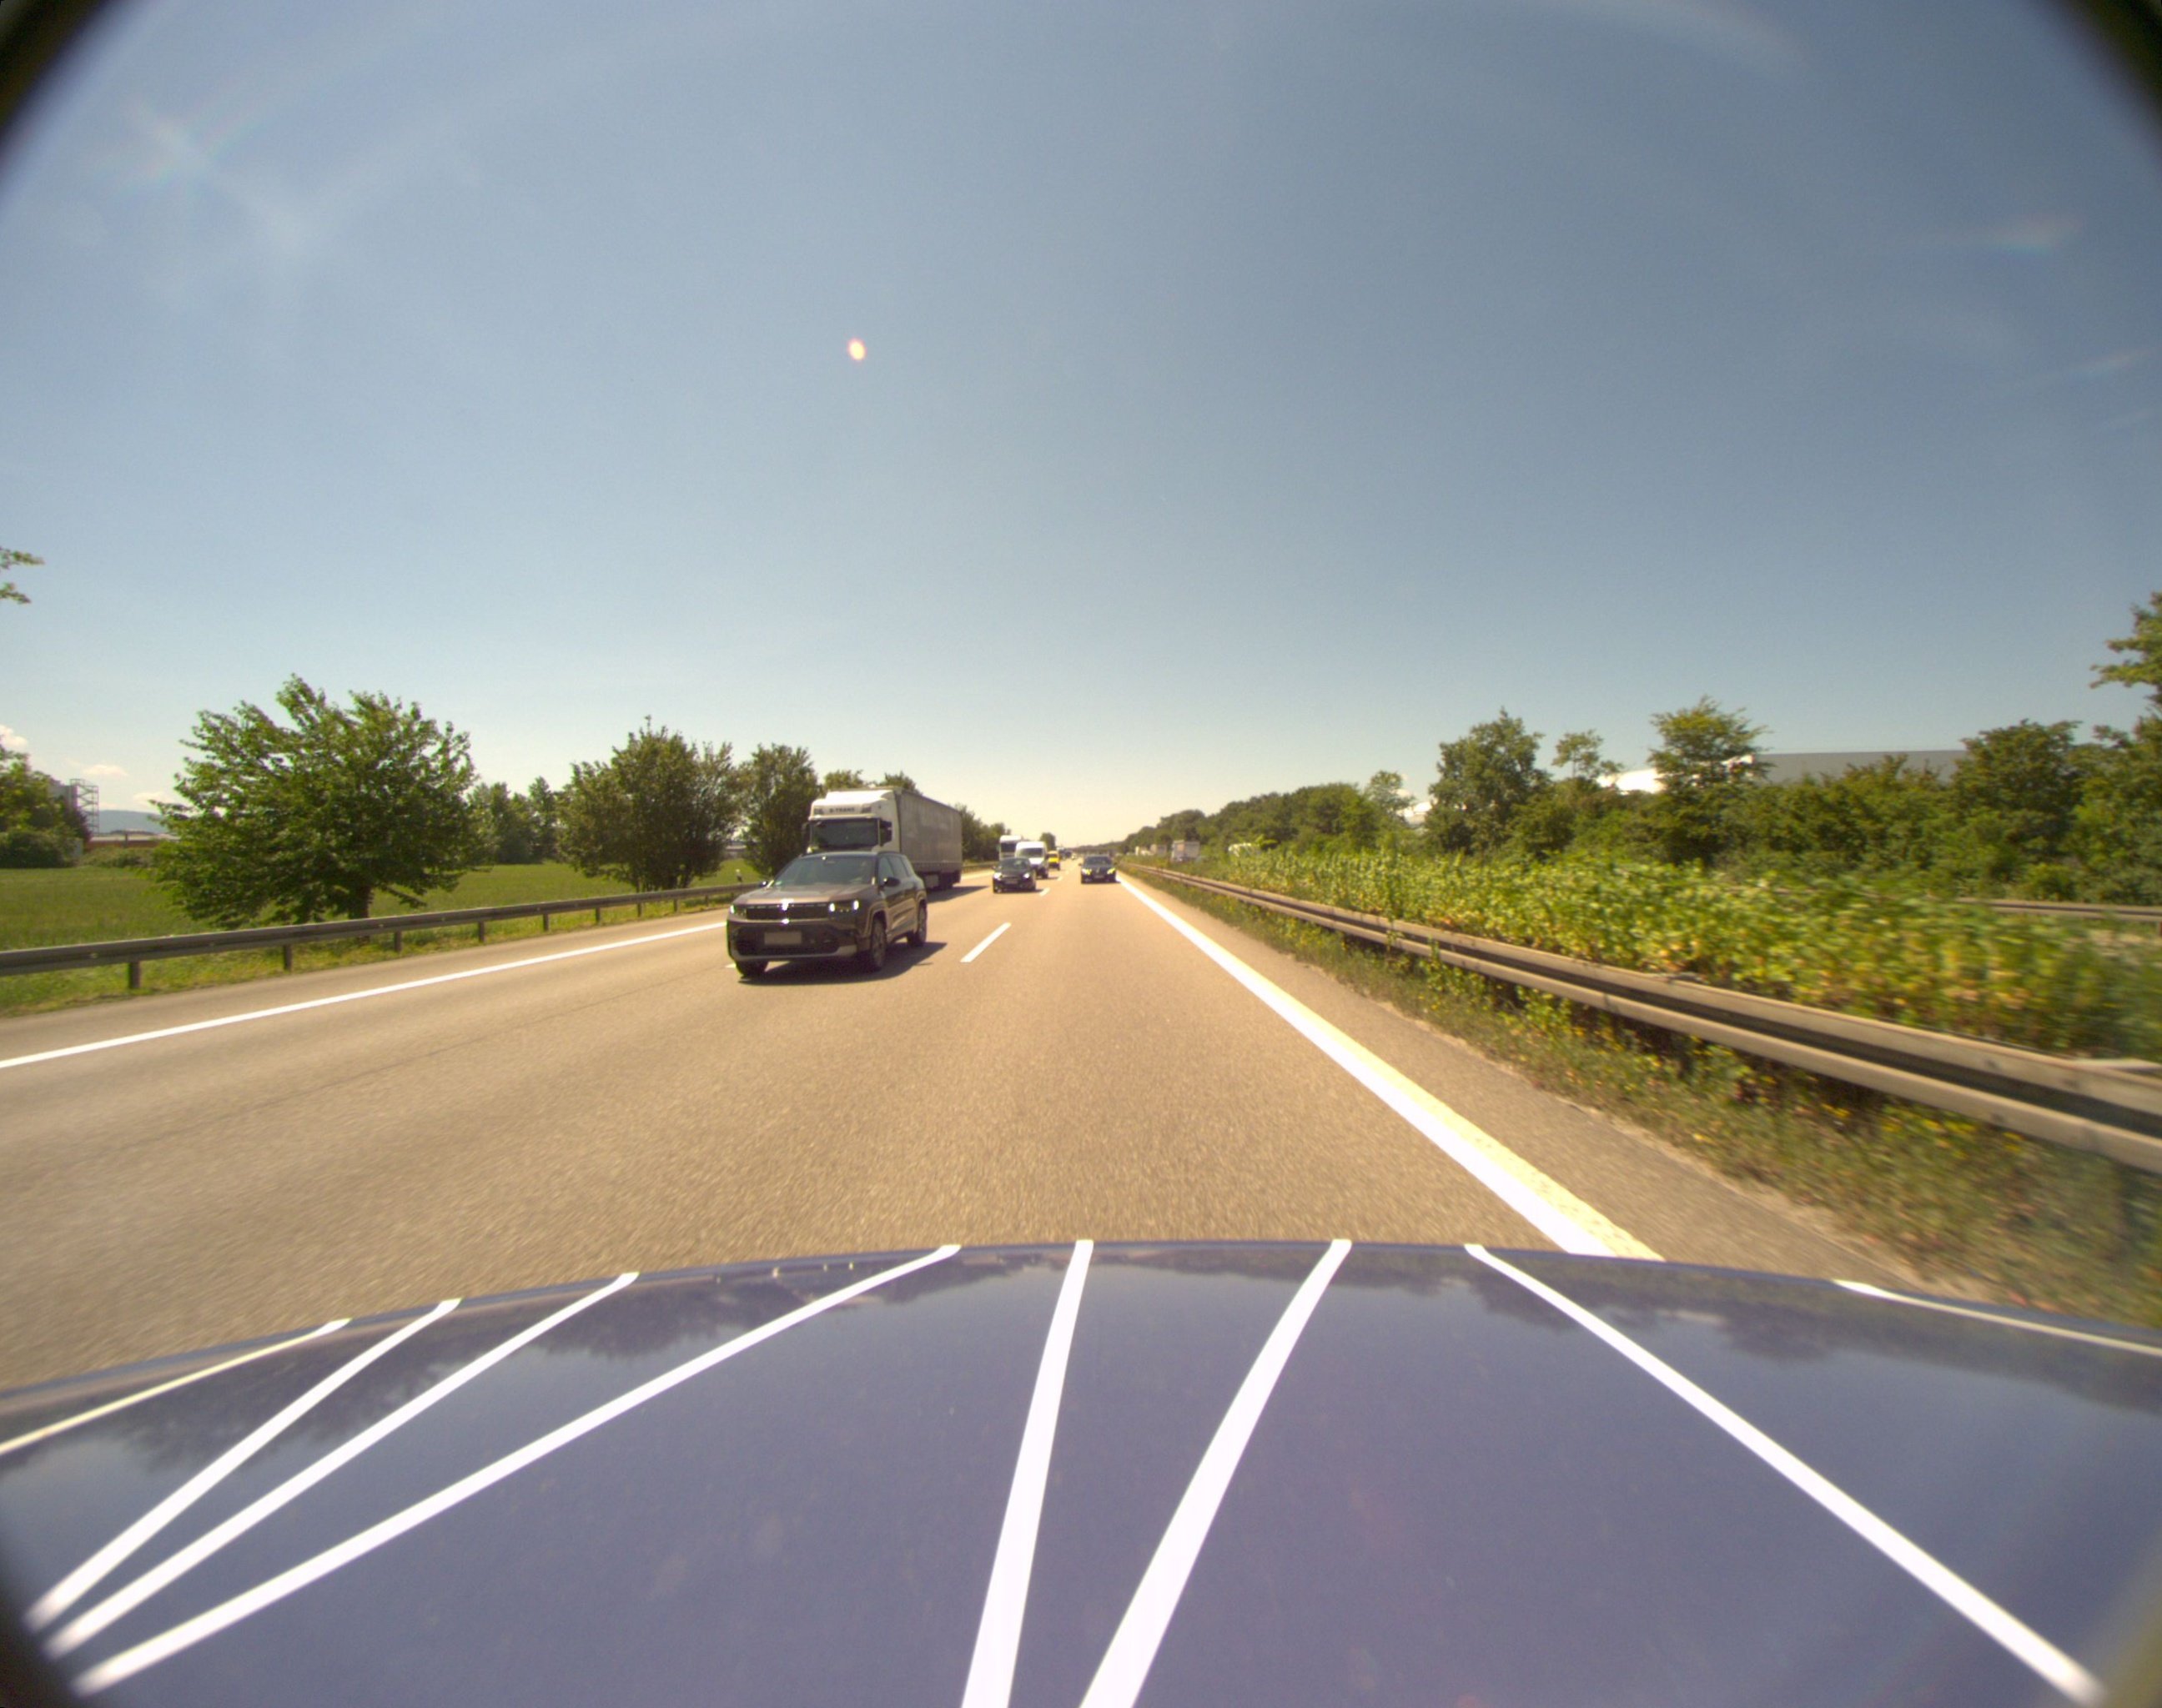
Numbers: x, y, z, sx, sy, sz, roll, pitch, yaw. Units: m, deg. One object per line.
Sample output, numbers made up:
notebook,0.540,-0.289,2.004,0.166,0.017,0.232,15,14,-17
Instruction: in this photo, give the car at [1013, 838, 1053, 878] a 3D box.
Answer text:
car,-3.135,0.226,50.784,2.159,2.494,5.945,-2,0,0

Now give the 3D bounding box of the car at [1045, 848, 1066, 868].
car,-2.636,0.363,79.075,1.958,1.939,3.999,-2,1,0

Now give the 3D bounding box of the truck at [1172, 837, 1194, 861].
truck,17.977,-0.924,134.701,3.014,4.188,6.309,1,2,0

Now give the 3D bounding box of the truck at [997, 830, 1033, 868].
truck,-7.250,-0.532,84.371,2.699,3.943,7.704,-2,0,3

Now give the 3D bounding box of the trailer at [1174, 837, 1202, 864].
trailer,17.944,-0.702,128.255,2.984,4.188,13.731,1,2,1

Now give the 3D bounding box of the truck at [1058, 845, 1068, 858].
truck,-5.647,-0.778,234.045,2.976,3.626,7.148,-2,1,-2

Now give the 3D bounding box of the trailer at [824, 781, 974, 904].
trailer,-7.511,-0.470,34.232,2.817,4.279,14.254,-2,0,1

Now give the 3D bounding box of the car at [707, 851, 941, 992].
car,-3.622,0.831,11.786,1.872,1.665,4.746,-2,0,1

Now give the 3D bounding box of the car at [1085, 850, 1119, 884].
car,1.104,0.635,40.125,1.690,1.646,3.462,-2,1,2

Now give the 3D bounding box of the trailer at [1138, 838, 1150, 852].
trailer,18.955,-2.594,228.849,2.746,4.061,14.347,1,0,2

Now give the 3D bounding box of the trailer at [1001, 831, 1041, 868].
trailer,-6.912,-0.557,90.317,2.699,3.943,13.963,-2,0,3

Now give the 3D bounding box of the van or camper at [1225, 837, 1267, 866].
van or camper,17.894,-0.317,82.864,2.857,2.952,7.446,1,1,1

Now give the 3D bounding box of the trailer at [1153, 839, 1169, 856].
trailer,19.624,-1.600,187.008,2.764,4.079,14.052,2,0,1

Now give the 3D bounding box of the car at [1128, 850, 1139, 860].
car,11.896,0.269,170.951,1.999,2.061,4.712,-2,1,-1

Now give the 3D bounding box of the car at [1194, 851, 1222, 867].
car,12.433,0.494,74.898,1.962,1.459,4.751,1,0,0

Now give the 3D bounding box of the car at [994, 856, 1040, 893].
car,-2.717,0.840,32.688,1.692,1.465,3.432,-1,0,-1

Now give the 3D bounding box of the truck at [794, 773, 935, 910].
truck,-7.642,-0.422,27.974,2.817,4.279,7.193,-2,1,1
